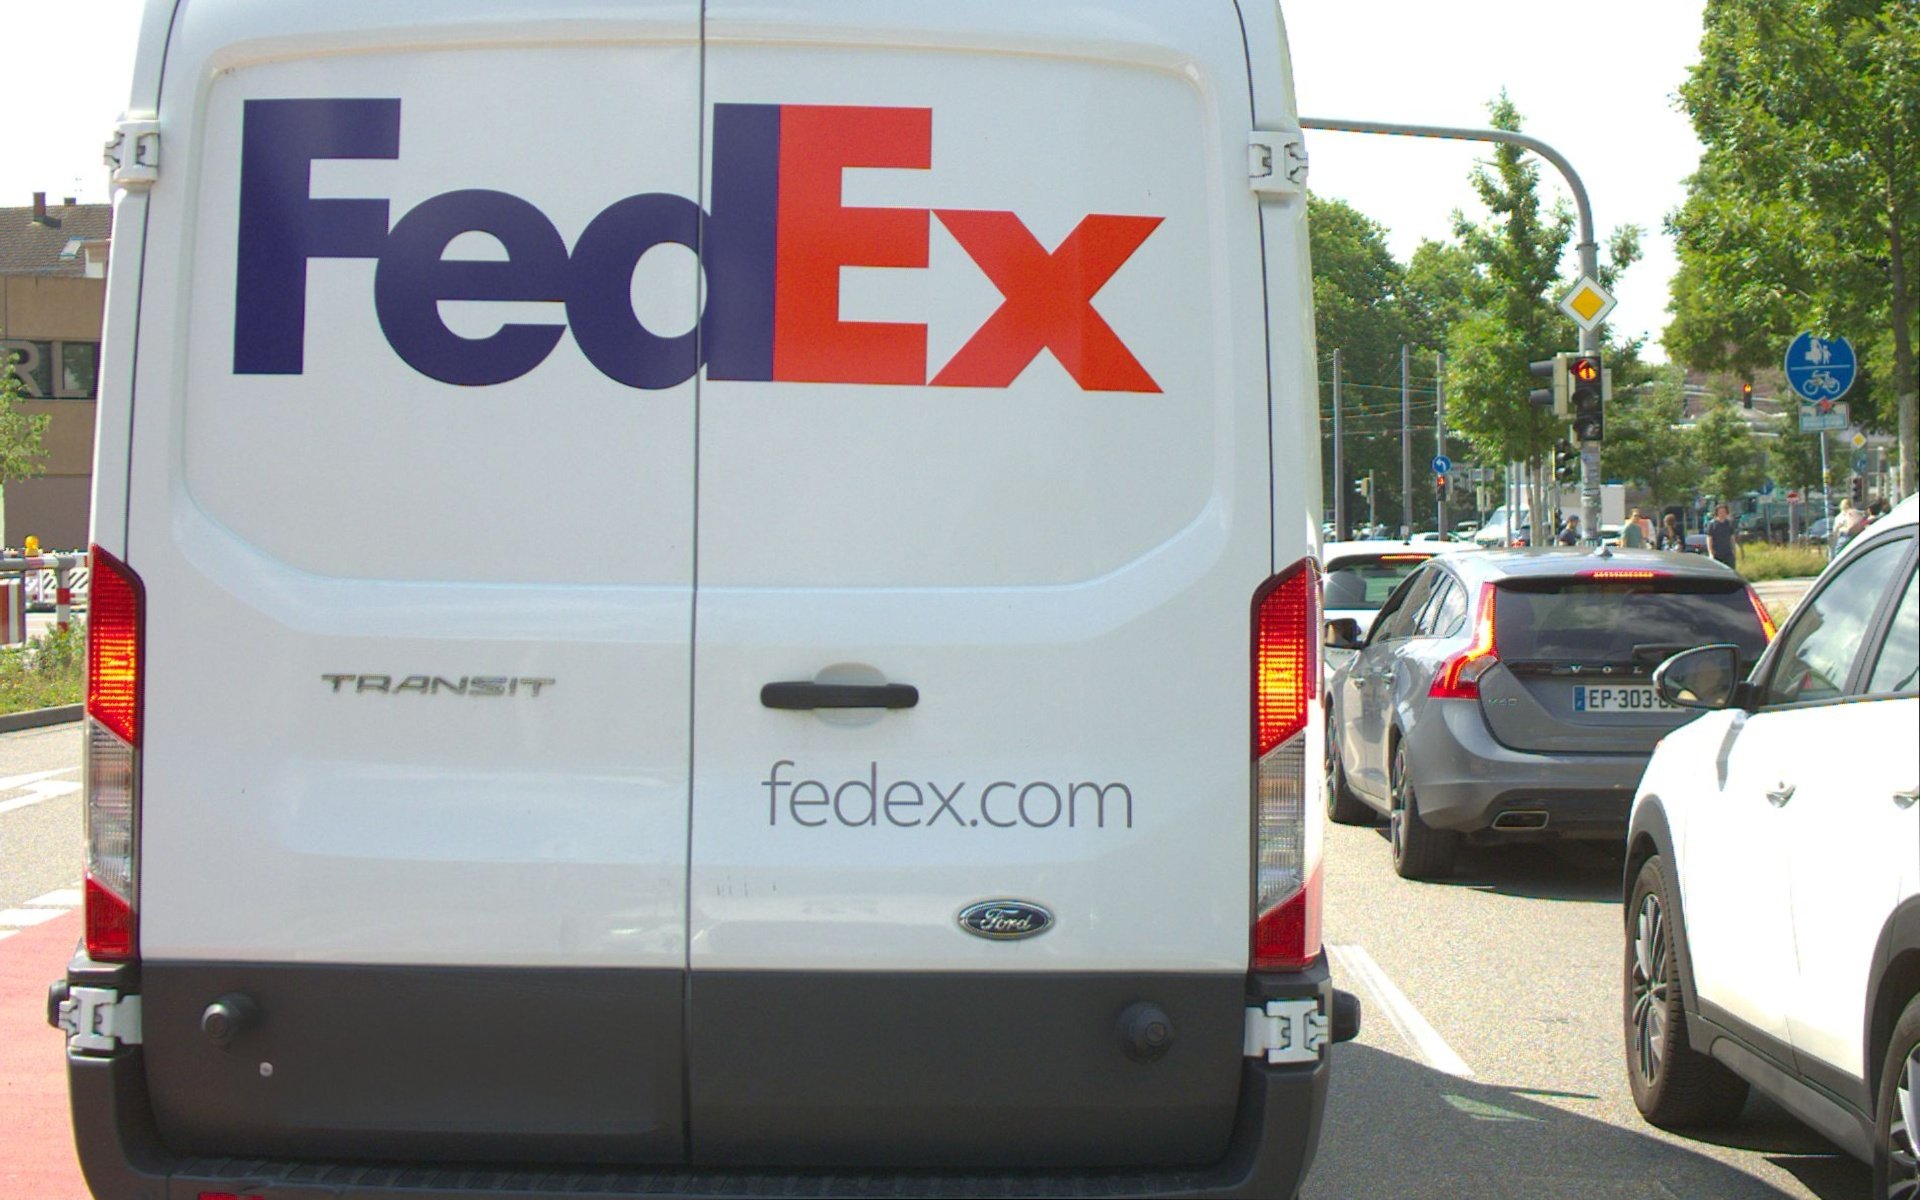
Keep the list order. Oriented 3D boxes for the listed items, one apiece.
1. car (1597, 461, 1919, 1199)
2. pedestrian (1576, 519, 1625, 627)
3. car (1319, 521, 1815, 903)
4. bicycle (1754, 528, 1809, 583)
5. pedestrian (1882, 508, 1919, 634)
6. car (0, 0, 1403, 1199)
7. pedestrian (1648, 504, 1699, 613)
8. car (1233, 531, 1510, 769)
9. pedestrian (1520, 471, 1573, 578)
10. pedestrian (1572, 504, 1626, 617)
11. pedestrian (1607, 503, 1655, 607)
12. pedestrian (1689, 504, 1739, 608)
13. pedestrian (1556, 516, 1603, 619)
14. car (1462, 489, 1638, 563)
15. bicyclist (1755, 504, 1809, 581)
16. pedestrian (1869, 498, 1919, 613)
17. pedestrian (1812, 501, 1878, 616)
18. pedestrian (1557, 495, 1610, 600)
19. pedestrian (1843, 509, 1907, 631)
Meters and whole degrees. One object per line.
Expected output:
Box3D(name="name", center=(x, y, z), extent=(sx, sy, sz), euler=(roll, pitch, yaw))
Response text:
Box3D(name="car", center=(2.587, 0.555, 7.227), extent=(1.814, 1.673, 3.974), euler=(0, 1, 1))
Box3D(name="pedestrian", center=(10.998, -0.467, 59.044), extent=(0.759, 1.843, 0.816), euler=(0, 1, 15))
Box3D(name="car", center=(2.684, 0.417, 15.956), extent=(1.691, 1.543, 3.720), euler=(0, 1, 1))
Box3D(name="bicycle", center=(23.225, -1.266, 97.131), extent=(1.426, 1.459, 4.308), euler=(0, 2, 15))
Box3D(name="pedestrian", center=(12.677, -0.386, 45.499), extent=(0.759, 1.649, 0.816), euler=(-1, 1, 3))
Box3D(name="car", center=(-0.364, 0.047, 7.197), extent=(2.072, 2.572, 4.428), euler=(0, 1, 1))
Box3D(name="pedestrian", center=(12.192, -0.716, 58.743), extent=(0.759, 1.843, 0.815), euler=(0, 1, 18))
Box3D(name="car", center=(2.711, 0.279, 23.242), extent=(1.499, 1.459, 3.474), euler=(0, 1, 1))
Box3D(name="pedestrian", center=(10.249, -1.325, 60.078), extent=(0.813, 1.843, 0.761), euler=(-1, 1, 3))
Box3D(name="pedestrian", center=(10.541, -0.657, 56.684), extent=(0.759, 1.843, 0.815), euler=(0, 1, 18))
Box3D(name="pedestrian", center=(12.032, -0.818, 61.629), extent=(0.759, 1.843, 0.816), euler=(-1, 1, 6))
Box3D(name="pedestrian", center=(13.549, -0.798, 61.785), extent=(0.759, 1.843, 0.816), euler=(-1, 1, 3))
Box3D(name="pedestrian", center=(11.246, -0.595, 62.405), extent=(0.759, 1.843, 0.815), euler=(0, 2, 15))
Box3D(name="car", center=(22.863, -2.834, 132.986), extent=(7.063, 2.708, 2.496), euler=(0, 1, -37))
Box3D(name="bicyclist", center=(23.236, -1.634, 97.188), extent=(1.433, 2.164, 1.338), euler=(0, 1, 15))
Box3D(name="pedestrian", center=(15.337, -0.729, 56.010), extent=(0.758, 1.843, 0.816), euler=(-1, 1, -8))
Box3D(name="pedestrian", center=(14.359, -0.676, 55.779), extent=(0.758, 1.843, 0.816), euler=(-1, 1, -10))
Box3D(name="pedestrian", center=(11.098, -0.943, 61.233), extent=(0.758, 1.843, 0.816), euler=(-1, 1, -3))
Box3D(name="pedestrian", center=(13.929, -0.466, 52.346), extent=(0.759, 1.843, 0.816), euler=(-1, 1, 1))
